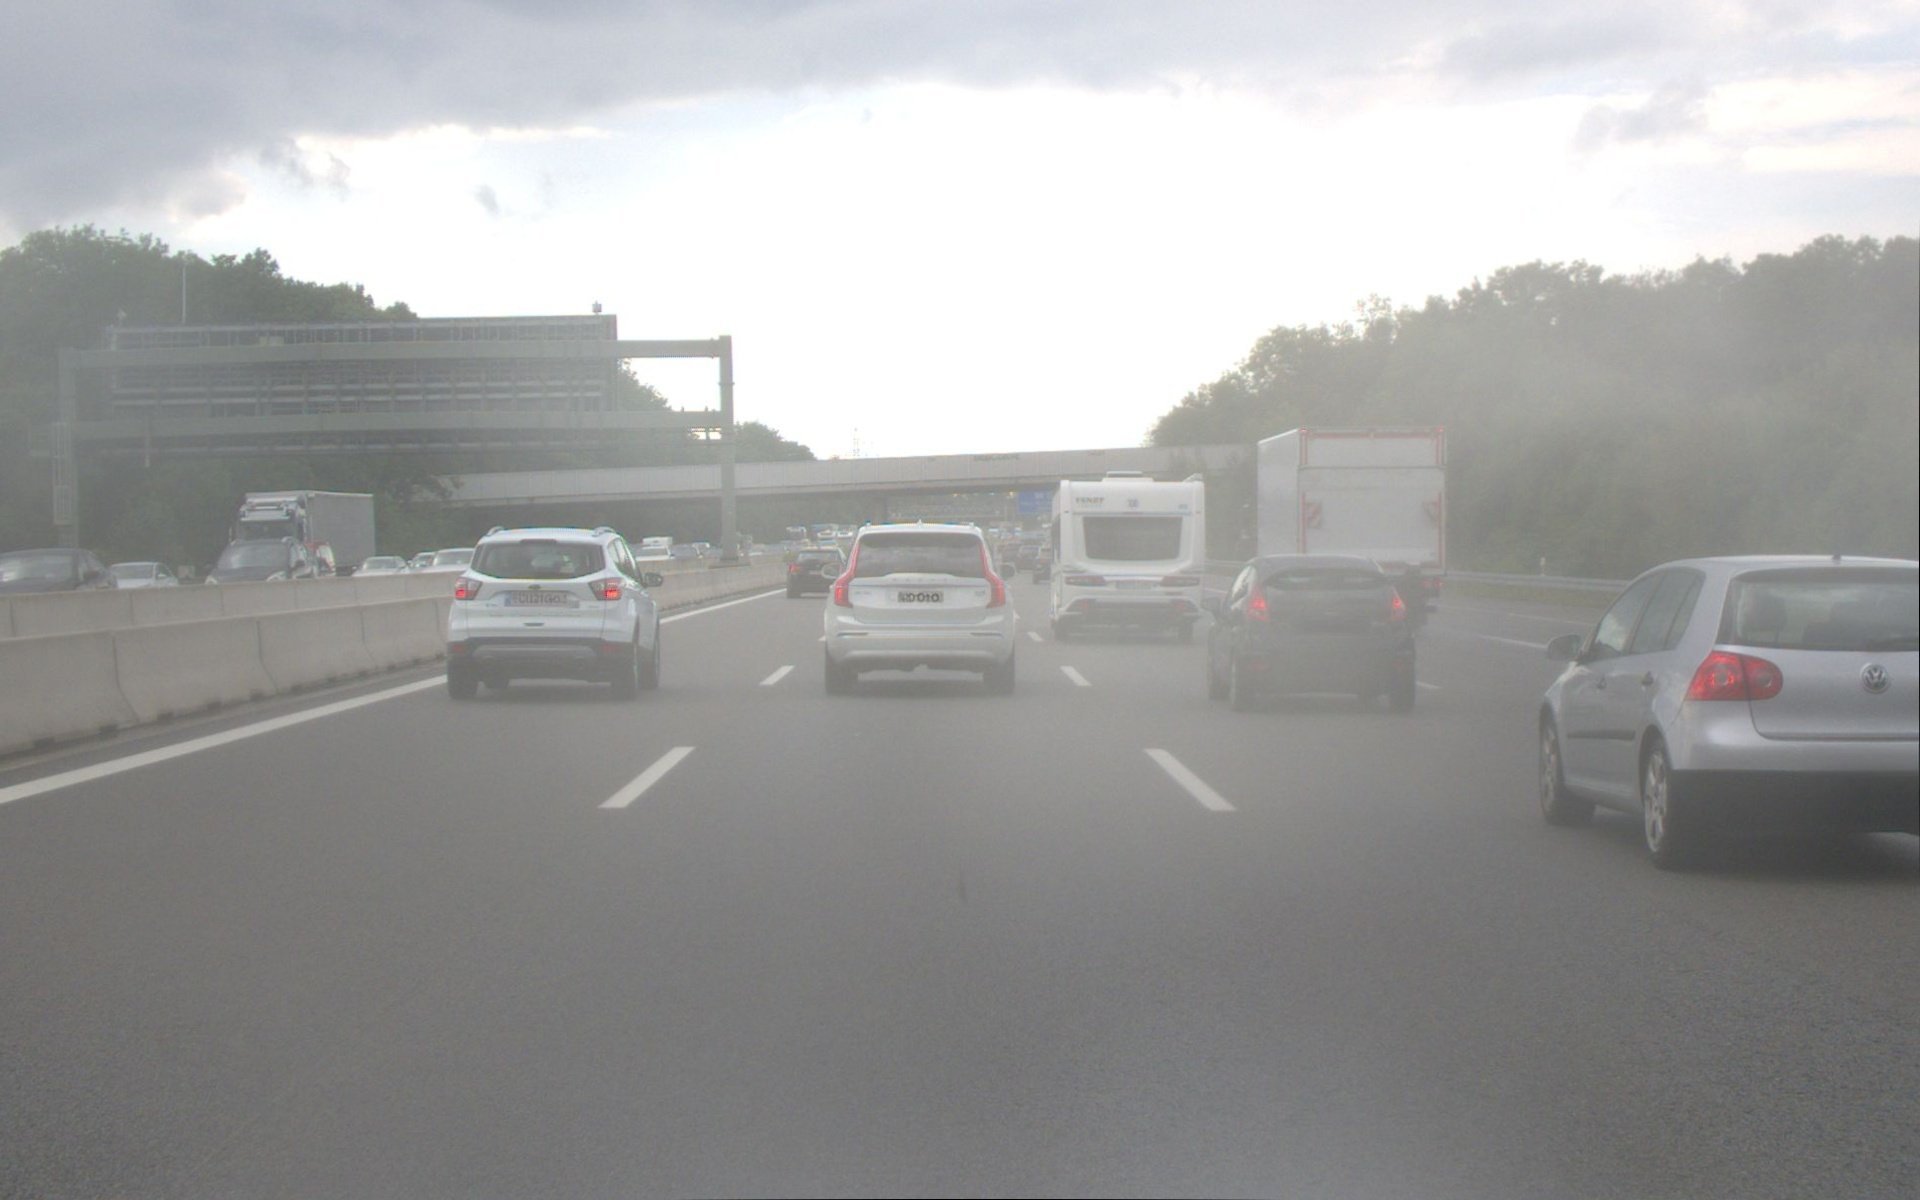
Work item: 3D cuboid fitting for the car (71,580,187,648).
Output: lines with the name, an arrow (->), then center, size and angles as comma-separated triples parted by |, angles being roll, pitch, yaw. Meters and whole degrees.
car -> -22.194, 0.341, 92.021 | 1.993, 1.709, 4.699 | 0, 1, 0

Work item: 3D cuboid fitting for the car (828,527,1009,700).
car -> -0.450, 0.099, 36.215 | 1.781, 1.710, 4.353 | 0, 1, -1

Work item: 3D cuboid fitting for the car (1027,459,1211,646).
car -> 2.520, -0.799, 56.759 | 2.567, 2.885, 7.534 | 0, 1, -1

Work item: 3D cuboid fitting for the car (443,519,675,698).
car -> -3.994, 0.025, 34.938 | 1.815, 1.684, 4.852 | 0, 1, 0

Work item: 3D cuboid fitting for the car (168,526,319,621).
car -> -13.942, -0.543, 67.108 | 1.993, 1.775, 4.673 | 0, 1, 0

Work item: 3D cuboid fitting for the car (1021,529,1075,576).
car -> 3.427, -1.865, 134.672 | 2.043, 1.817, 4.904 | 0, 1, 1

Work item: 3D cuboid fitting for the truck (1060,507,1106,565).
truck -> 8.202, -4.270, 229.581 | 2.906, 3.797, 7.274 | 0, 1, 1

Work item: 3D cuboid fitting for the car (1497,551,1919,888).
car -> 3.924, 0.502, 17.217 | 1.795, 1.472, 4.038 | 0, 1, -1

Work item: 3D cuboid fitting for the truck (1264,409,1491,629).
truck -> 7.460, -1.452, 62.755 | 3.133, 3.697, 9.847 | 0, 1, 1

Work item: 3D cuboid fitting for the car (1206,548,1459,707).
car -> 3.483, 0.211, 32.861 | 1.885, 1.402, 4.283 | 0, 1, -1

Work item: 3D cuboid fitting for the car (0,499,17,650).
car -> -22.006, -0.516, 72.322 | 2.660, 3.266, 6.563 | 0, 1, -1

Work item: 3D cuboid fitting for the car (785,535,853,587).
car -> -4.084, -1.162, 100.172 | 1.781, 1.476, 4.353 | 0, 1, 0

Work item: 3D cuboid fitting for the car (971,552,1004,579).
car -> 1.735, -2.171, 216.463 | 1.881, 1.680, 4.001 | 0, 1, -3
